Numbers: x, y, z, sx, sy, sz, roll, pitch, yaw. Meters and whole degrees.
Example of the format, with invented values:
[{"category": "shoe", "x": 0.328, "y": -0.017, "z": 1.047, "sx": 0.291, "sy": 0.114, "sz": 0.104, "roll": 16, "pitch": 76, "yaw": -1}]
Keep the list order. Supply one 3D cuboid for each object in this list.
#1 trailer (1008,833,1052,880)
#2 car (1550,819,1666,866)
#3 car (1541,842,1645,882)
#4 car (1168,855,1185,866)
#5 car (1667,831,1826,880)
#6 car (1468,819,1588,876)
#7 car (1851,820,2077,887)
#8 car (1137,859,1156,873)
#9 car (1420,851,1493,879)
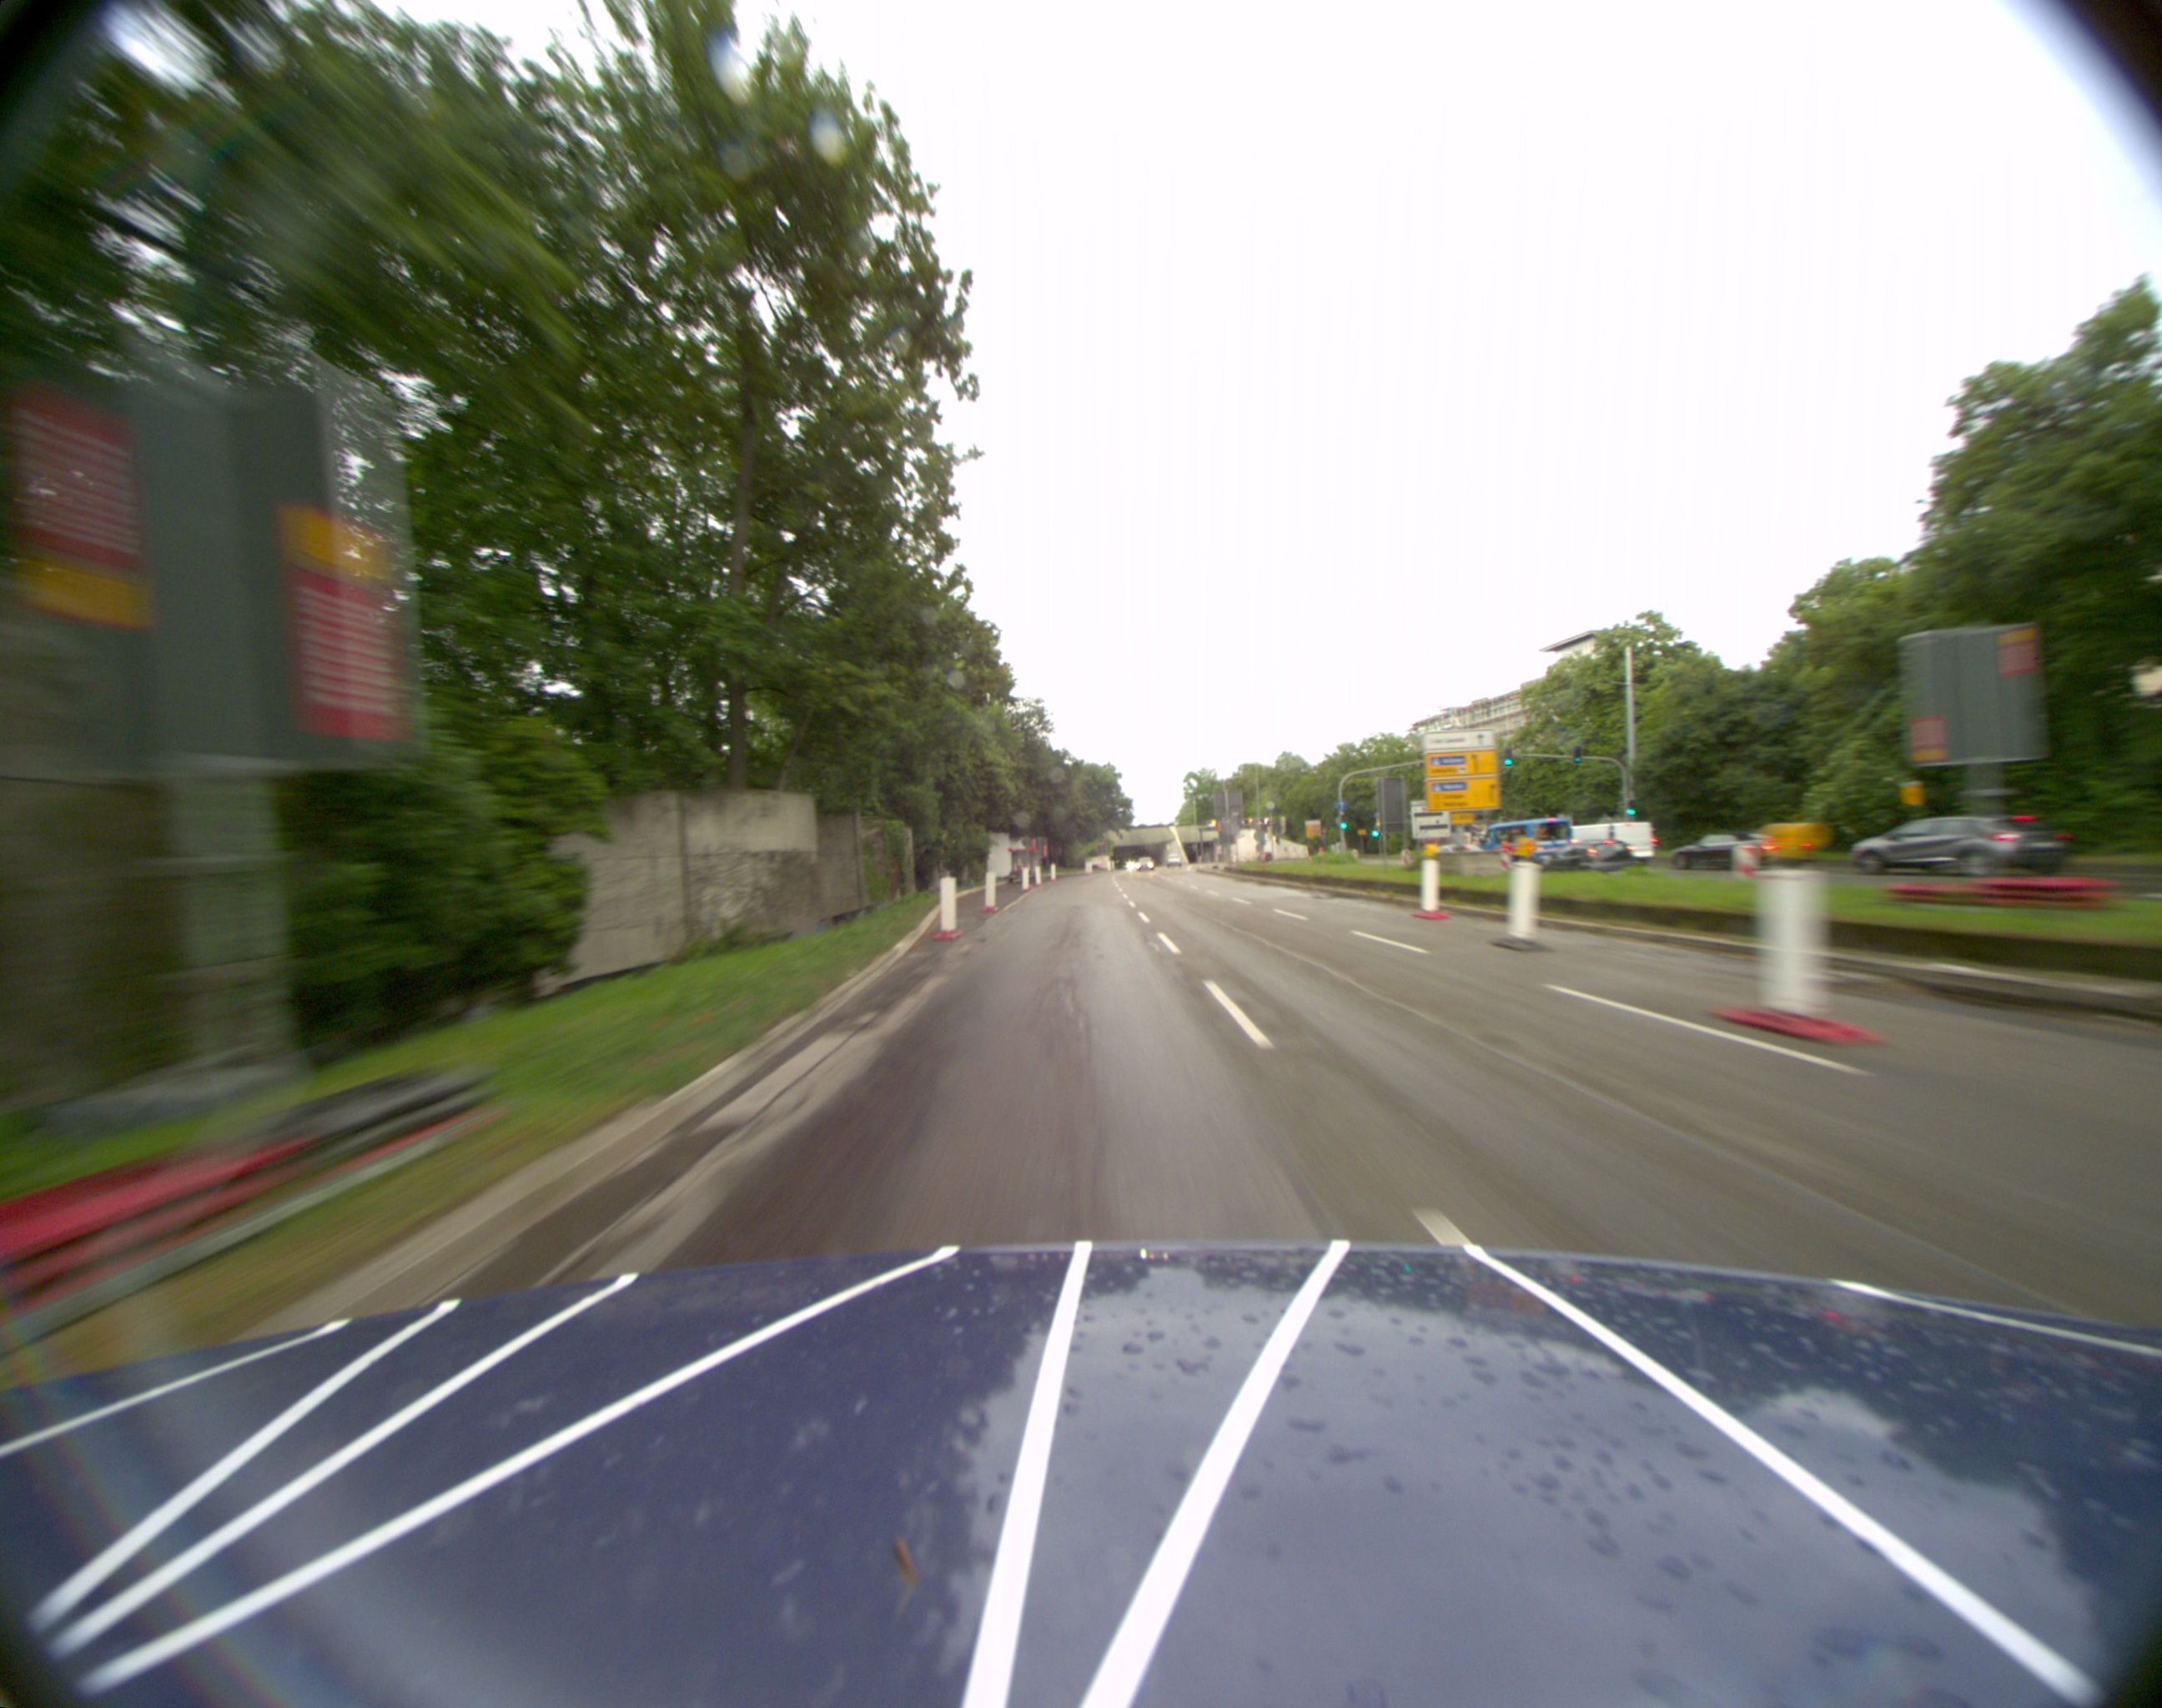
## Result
[{"category": "trailer", "x": -4.021, "y": 0.171, "z": 61.028, "sx": 2.312, "sy": 3.568, "sz": 5.963, "roll": -1, "pitch": 0, "yaw": 8}, {"category": "car", "x": 24.395, "y": -0.454, "z": 35.441, "sx": 2.039, "sy": 1.962, "sz": 4.992, "roll": -3, "pitch": -1, "yaw": 3}, {"category": "car", "x": 17.339, "y": 0.253, "z": 25.915, "sx": 1.433, "sy": 1.193, "sz": 3.301, "roll": -3, "pitch": 0, "yaw": 4}, {"category": "car", "x": 12.072, "y": 0.812, "z": 96.616, "sx": 1.698, "sy": 1.300, "sz": 3.825, "roll": -2, "pitch": 0, "yaw": 1}, {"category": "car", "x": 23.519, "y": 0.049, "z": 27.141, "sx": 1.797, "sy": 1.514, "sz": 4.635, "roll": -3, "pitch": 0, "yaw": 4}, {"category": "car", "x": 21.129, "y": -0.223, "z": 36.313, "sx": 2.200, "sy": 2.376, "sz": 6.246, "roll": -3, "pitch": -1, "yaw": 3}, {"category": "car", "x": 23.071, "y": -0.020, "z": 20.098, "sx": 1.675, "sy": 1.514, "sz": 3.790, "roll": -3, "pitch": 0, "yaw": 4}, {"category": "car", "x": 7.167, "y": 1.242, "z": 82.862, "sx": 1.697, "sy": 1.393, "sz": 3.827, "roll": -2, "pitch": 0, "yaw": 8}, {"category": "car", "x": 18.027, "y": 0.479, "z": 36.751, "sx": 1.552, "sy": 1.193, "sz": 4.648, "roll": -3, "pitch": 0, "yaw": 5}]
